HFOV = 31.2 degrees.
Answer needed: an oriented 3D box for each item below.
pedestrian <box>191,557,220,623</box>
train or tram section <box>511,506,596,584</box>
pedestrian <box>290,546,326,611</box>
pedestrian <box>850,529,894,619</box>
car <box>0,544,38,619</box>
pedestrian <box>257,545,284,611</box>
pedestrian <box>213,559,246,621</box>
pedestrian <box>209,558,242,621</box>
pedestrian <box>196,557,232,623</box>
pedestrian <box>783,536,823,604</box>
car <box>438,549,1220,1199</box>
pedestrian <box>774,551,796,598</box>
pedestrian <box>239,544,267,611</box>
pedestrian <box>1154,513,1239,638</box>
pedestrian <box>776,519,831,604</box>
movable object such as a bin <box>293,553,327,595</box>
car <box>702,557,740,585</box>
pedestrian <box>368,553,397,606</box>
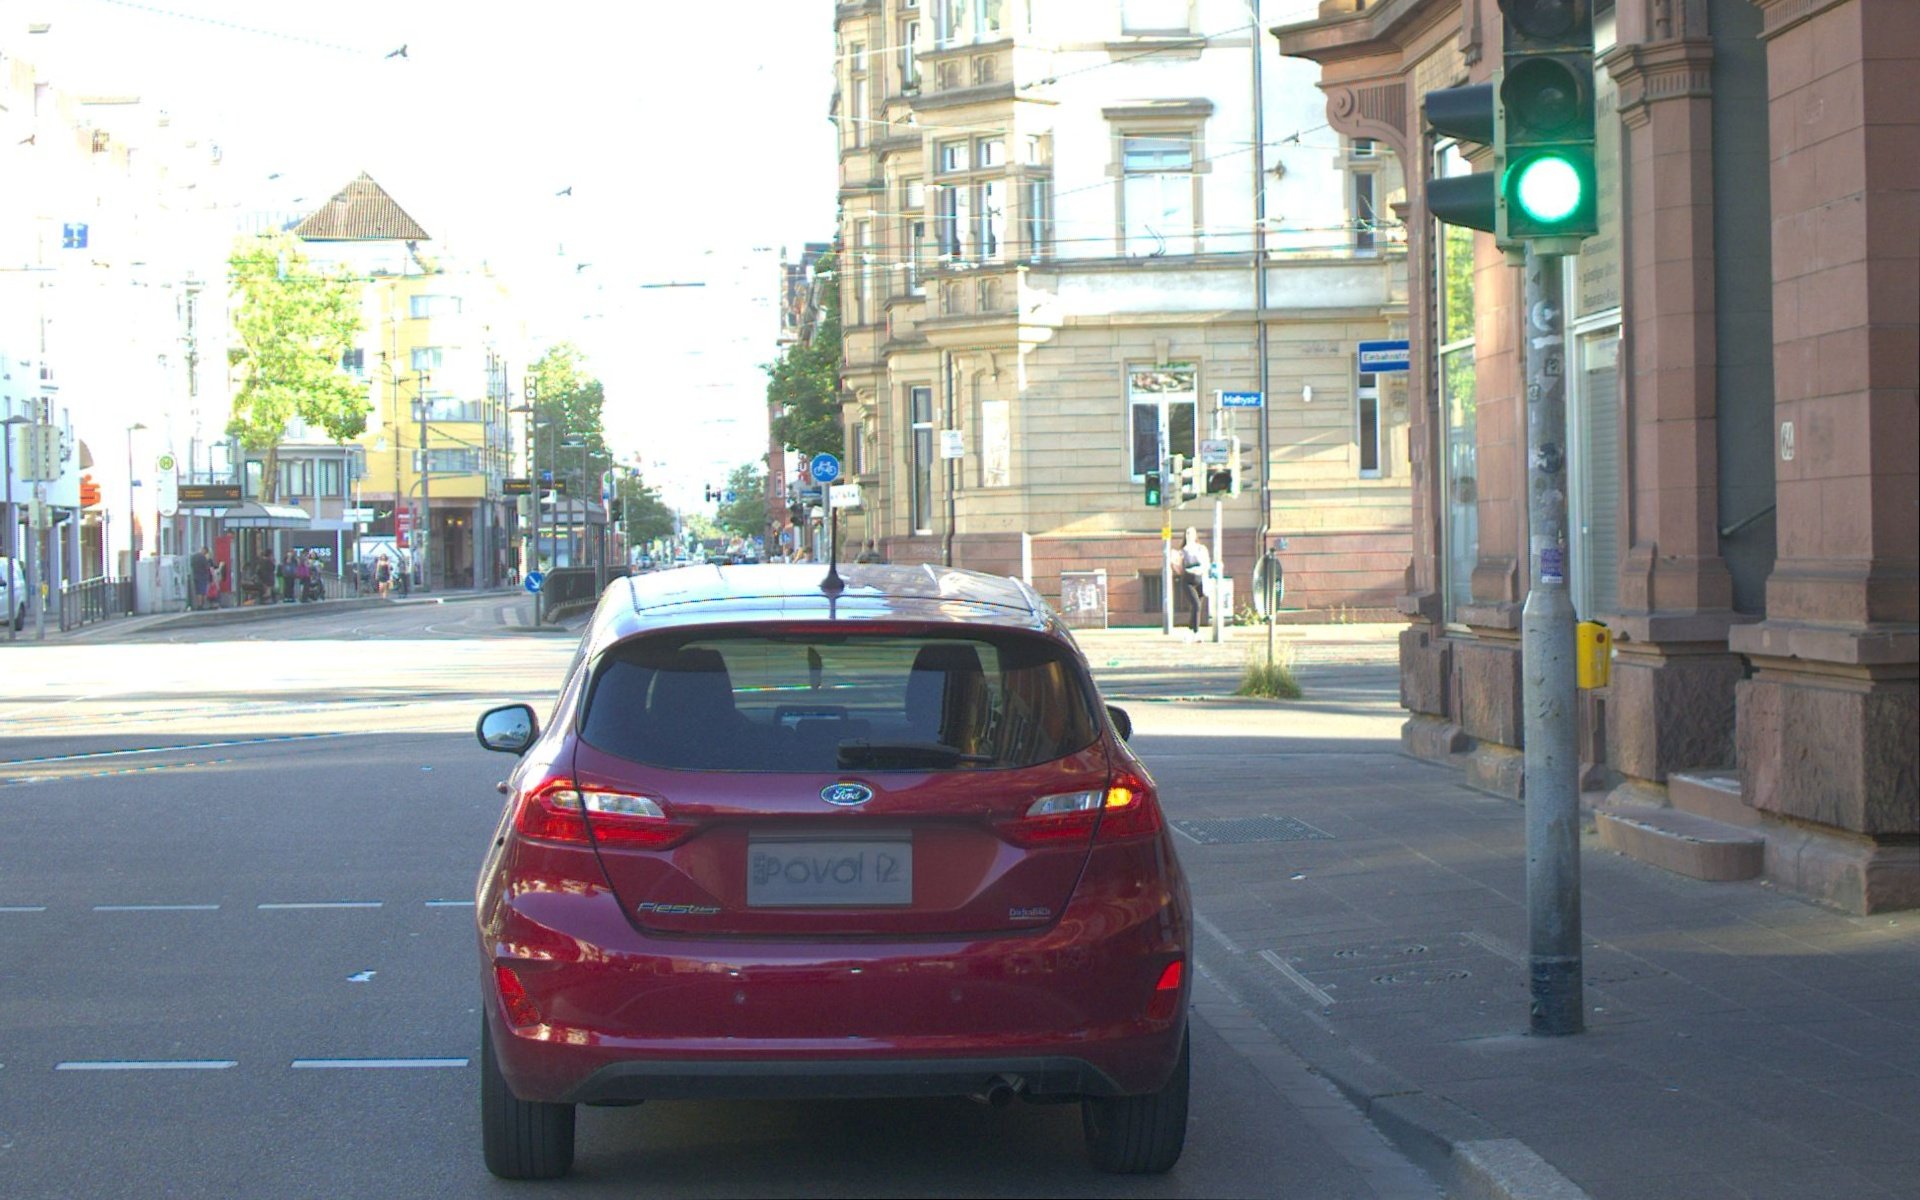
[{"bbox_3d":[-19.362,-0.249,88.221,0.598,1.686,0.613,-1,0,-3],"label":"pedestrian"},{"bbox_3d":[-19.066,-2.553,162.015,2.885,3.478,14.169,-1,1,-3],"label":"train or tram section"},{"bbox_3d":[-19.074,-0.628,100.548,0.931,1.898,0.881,-1,0,-6],"label":"pedestrian"},{"bbox_3d":[-1.842,-0.550,71.803,0.800,1.817,0.798,-3,1,-4],"label":"pedestrian"},{"bbox_3d":[-24.574,-0.451,85.802,1.993,1.831,5.347,-1,1,-4],"label":"car"},{"bbox_3d":[-19.859,-0.632,99.023,0.695,1.898,0.672,-1,0,-6],"label":"pedestrian"},{"bbox_3d":[-20.078,-0.284,94.466,0.695,1.685,0.672,-1,0,-27],"label":"pedestrian"},{"bbox_3d":[-19.801,-0.273,92.612,0.695,1.685,0.672,-1,0,-27],"label":"pedestrian"},{"bbox_3d":[-19.587,-0.260,90.277,0.765,1.727,0.519,-1,0,38],"label":"pedestrian"},{"bbox_3d":[-3.189,-0.607,69.615,0.717,1.327,0.797,-2,0,-5],"label":"pedestrian"},{"bbox_3d":[-0.421,0.621,9.317,1.692,1.490,3.581,1,1,-5],"label":"car"},{"bbox_3d":[-6.897,-1.011,135.469,0.713,1.768,0.773,-4,2,-7],"label":"pedestrian"},{"bbox_3d":[-20.206,-0.633,98.216,0.695,1.898,0.672,-1,0,-6],"label":"pedestrian"},{"bbox_3d":[3.485,-0.369,50.728,1.023,1.800,1.083,-1,1,-7],"label":"pedestrian"},{"bbox_3d":[-3.210,-0.790,70.546,0.718,1.715,0.795,-3,0,36],"label":"pedestrian"},{"bbox_3d":[-20.203,-0.808,106.899,0.937,1.282,0.935,-1,0,-6],"label":"movable object such as a bin"},{"bbox_3d":[-12.852,-1.570,184.867,1.993,1.444,4.001,0,1,-4],"label":"car"},{"bbox_3d":[-20.976,-0.753,124.889,0.878,1.898,0.935,-1,0,-19],"label":"pedestrian"}]
